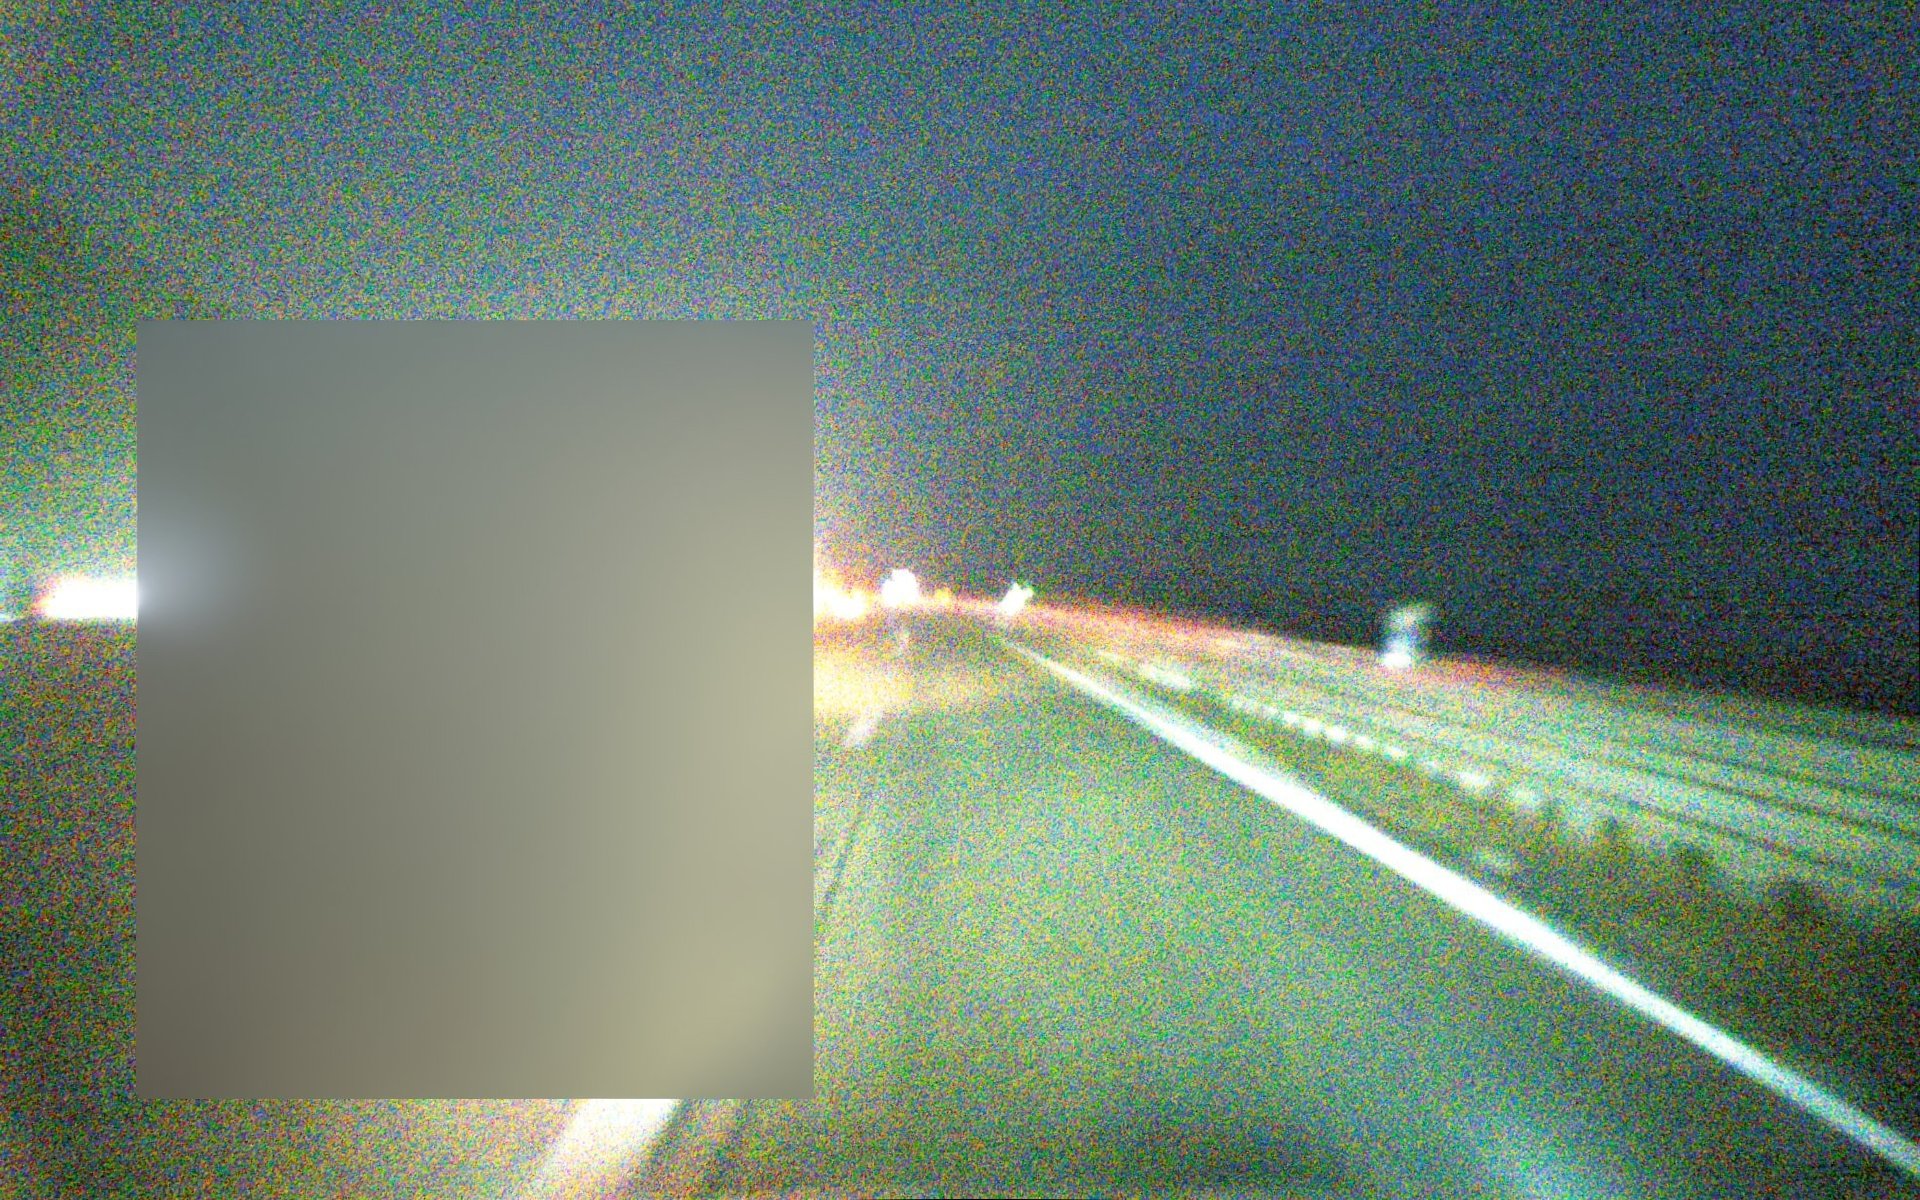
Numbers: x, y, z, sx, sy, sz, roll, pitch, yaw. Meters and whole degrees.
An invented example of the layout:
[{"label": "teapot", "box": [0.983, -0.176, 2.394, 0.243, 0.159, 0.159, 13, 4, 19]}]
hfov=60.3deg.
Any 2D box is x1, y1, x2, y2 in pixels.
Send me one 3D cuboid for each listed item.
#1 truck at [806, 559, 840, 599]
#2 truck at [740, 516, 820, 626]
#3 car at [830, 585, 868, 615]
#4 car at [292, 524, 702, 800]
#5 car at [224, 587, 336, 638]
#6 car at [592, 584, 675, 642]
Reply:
[{"label": "truck", "box": [-17.815, -2.656, 214.686, 3.752, 5.001, 11.586, 1, 0, -8]}, {"label": "truck", "box": [-10.279, -1.497, 93.076, 4.089, 5.641, 13.052, 1, 0, -8]}, {"label": "car", "box": [-6.677, 0.008, 99.386, 1.956, 1.737, 4.188, 1, 0, -8]}, {"label": "car", "box": [-3.515, 0.424, 13.696, 1.913, 1.823, 5.124, 1, 0, 0]}, {"label": "car", "box": [-23.671, 0.411, 57.773, 1.954, 1.623, 5.018, 3, 0, -2]}, {"label": "car", "box": [-10.290, 0.395, 52.402, 1.954, 1.737, 4.193, 1, 0, -3]}]
